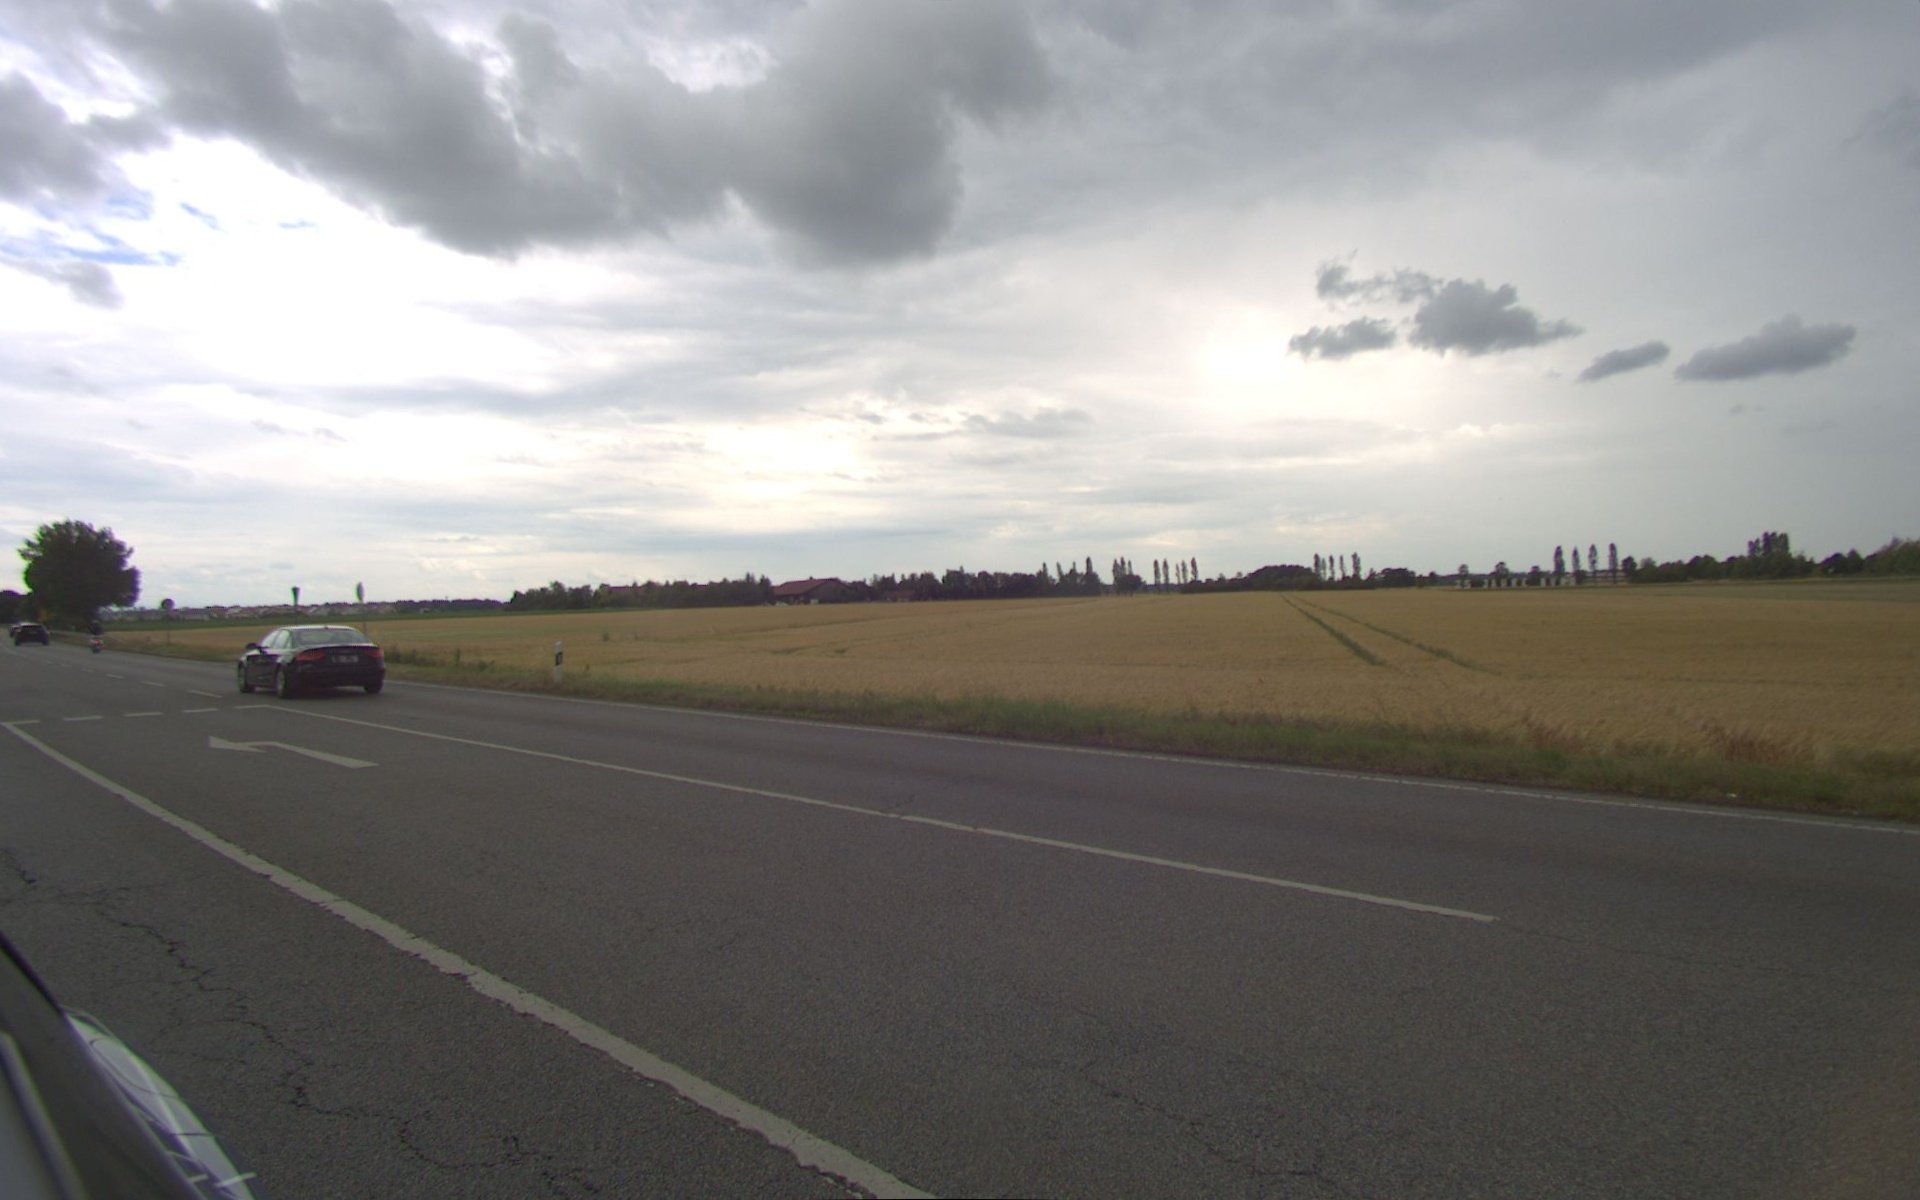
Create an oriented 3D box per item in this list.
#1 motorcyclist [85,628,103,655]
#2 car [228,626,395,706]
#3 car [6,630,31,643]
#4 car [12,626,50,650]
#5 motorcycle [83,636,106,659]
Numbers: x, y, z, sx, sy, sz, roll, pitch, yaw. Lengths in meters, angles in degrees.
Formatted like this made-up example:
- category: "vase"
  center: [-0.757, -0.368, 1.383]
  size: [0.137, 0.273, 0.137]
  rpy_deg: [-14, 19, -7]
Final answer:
- category: "motorcyclist"
  center: [-45.578, 2.160, 53.266]
  size: [0.809, 1.394, 0.632]
  rpy_deg: [-2, -1, 43]
- category: "car"
  center: [-13.464, 1.302, 20.913]
  size: [4.423, 1.421, 1.807]
  rpy_deg: [-2, -1, 42]
- category: "car"
  center: [-114.649, 4.438, 123.284]
  size: [1.968, 1.521, 4.007]
  rpy_deg: [1, -2, -39]
- category: "car"
  center: [-69.133, 2.824, 75.299]
  size: [4.448, 1.707, 1.925]
  rpy_deg: [-2, -1, 45]
- category: "motorcycle"
  center: [-45.578, 2.477, 53.266]
  size: [2.024, 1.157, 0.718]
  rpy_deg: [-2, -1, 44]
